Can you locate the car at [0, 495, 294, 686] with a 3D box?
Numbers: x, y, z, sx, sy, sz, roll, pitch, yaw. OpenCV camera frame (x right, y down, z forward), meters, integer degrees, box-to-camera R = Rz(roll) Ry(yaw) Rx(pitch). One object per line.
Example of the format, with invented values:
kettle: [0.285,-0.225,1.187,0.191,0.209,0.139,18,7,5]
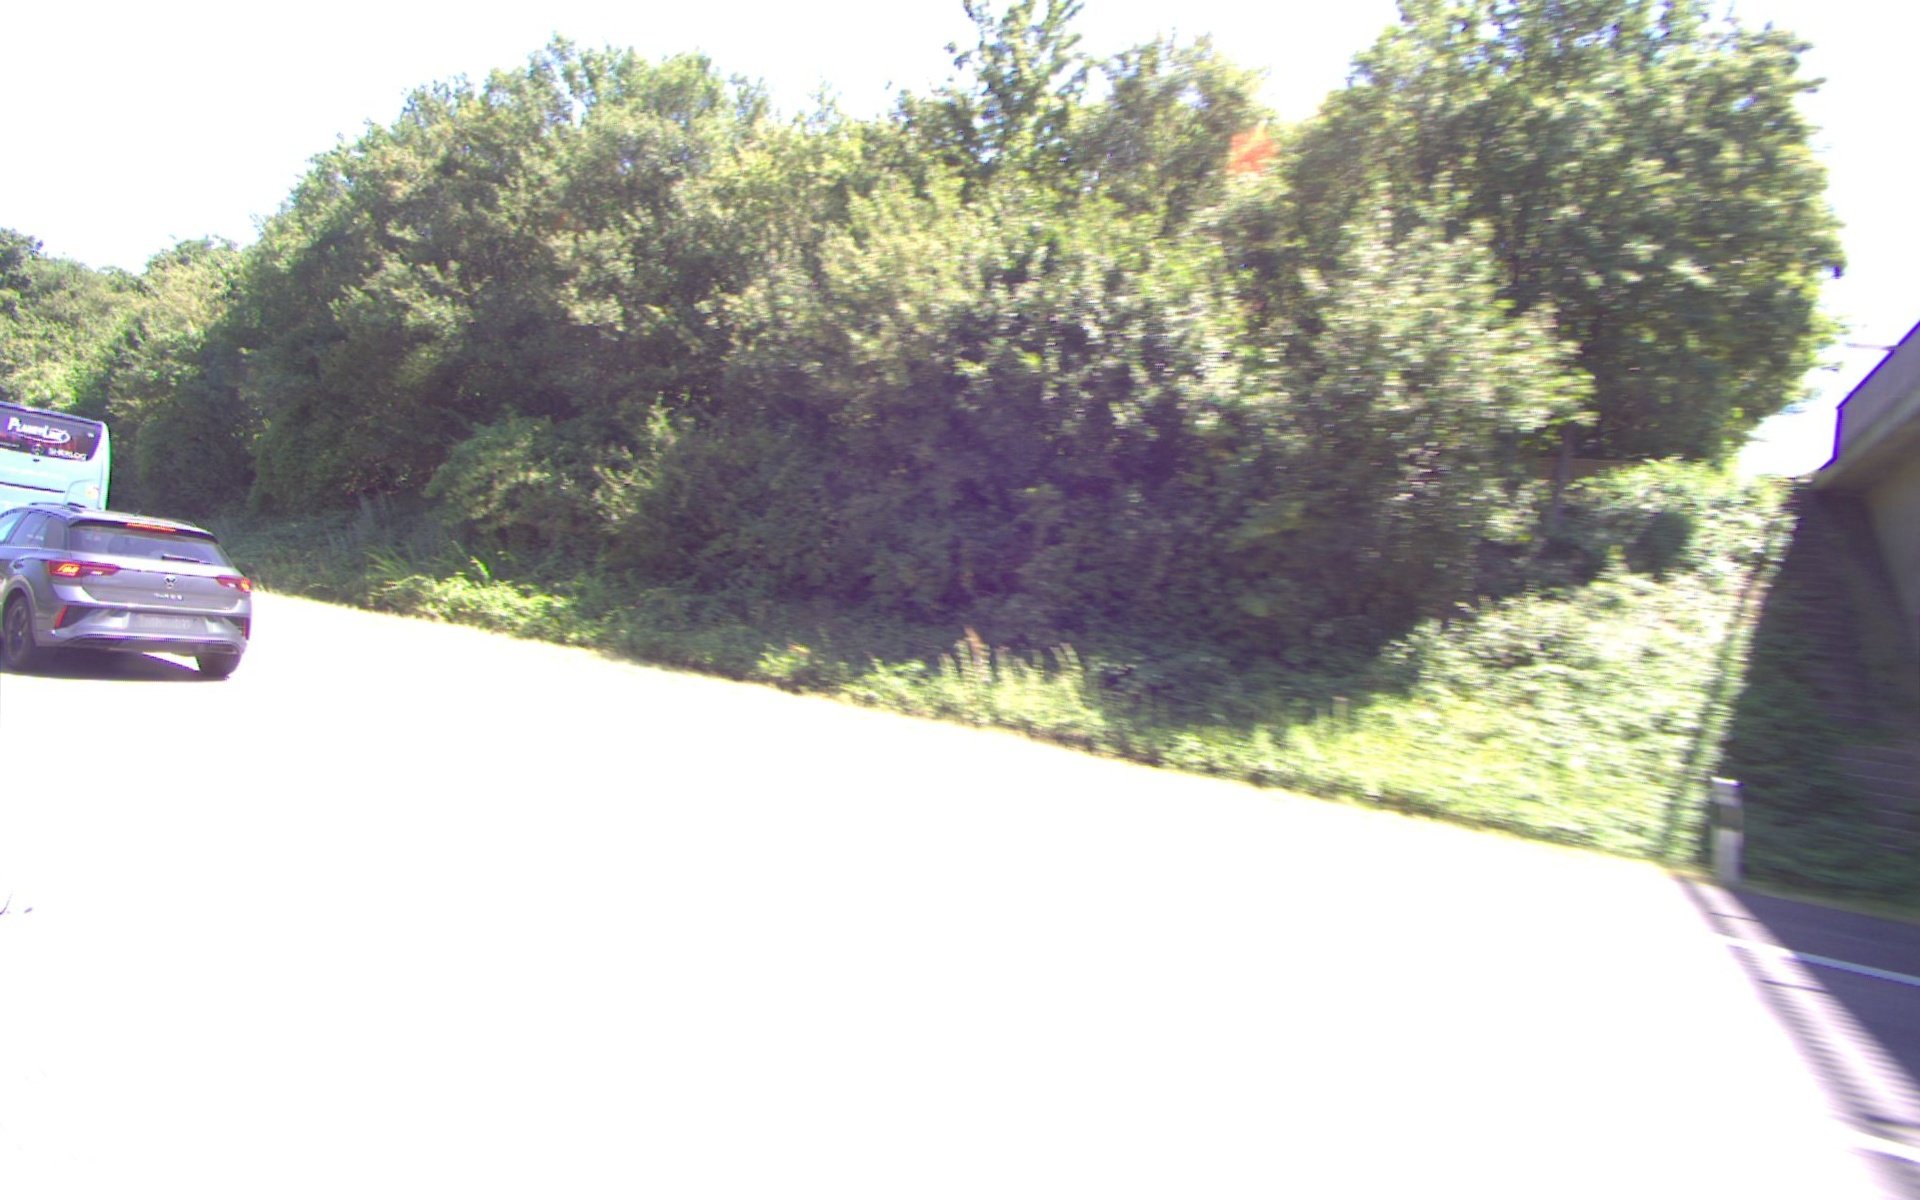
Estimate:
car: [-9.318,-0.215,10.593,4.680,1.550,1.903,7,-1,31]

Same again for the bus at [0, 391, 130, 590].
bus: [-23.507,-2.724,23.155,12.268,3.639,2.806,6,-1,32]
